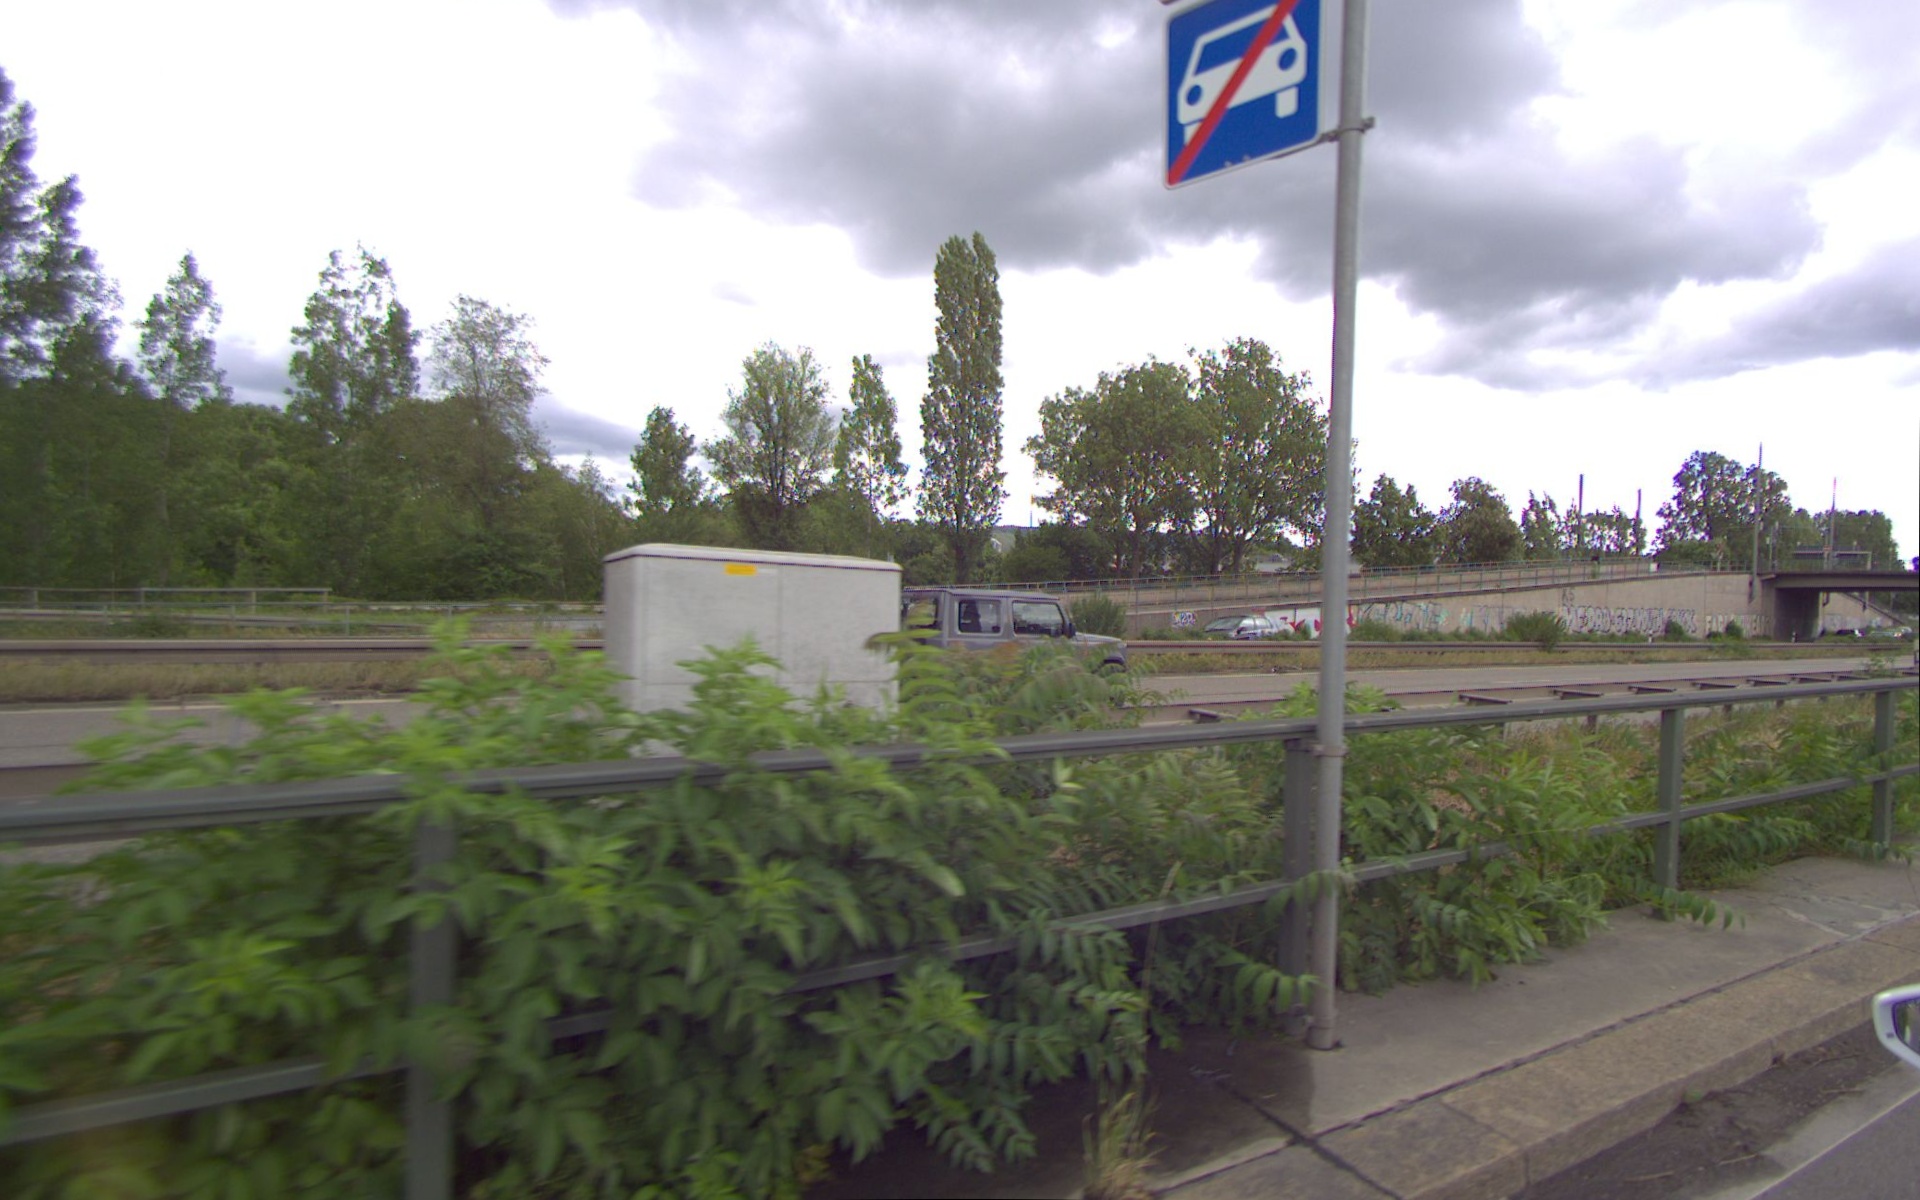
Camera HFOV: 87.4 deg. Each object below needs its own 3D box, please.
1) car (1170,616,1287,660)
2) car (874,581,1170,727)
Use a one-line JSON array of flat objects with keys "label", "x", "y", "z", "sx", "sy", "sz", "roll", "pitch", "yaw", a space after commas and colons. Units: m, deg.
[{"label": "car", "x": 9.705, "y": 1.334, "z": 36.288, "sx": 3.958, "sy": 1.454, "sz": 1.981, "roll": 0, "pitch": 0, "yaw": -34}, {"label": "car", "x": 0.930, "y": 0.694, "z": 13.976, "sx": 3.960, "sy": 1.759, "sz": 1.669, "roll": 1, "pitch": -1, "yaw": -36}]
